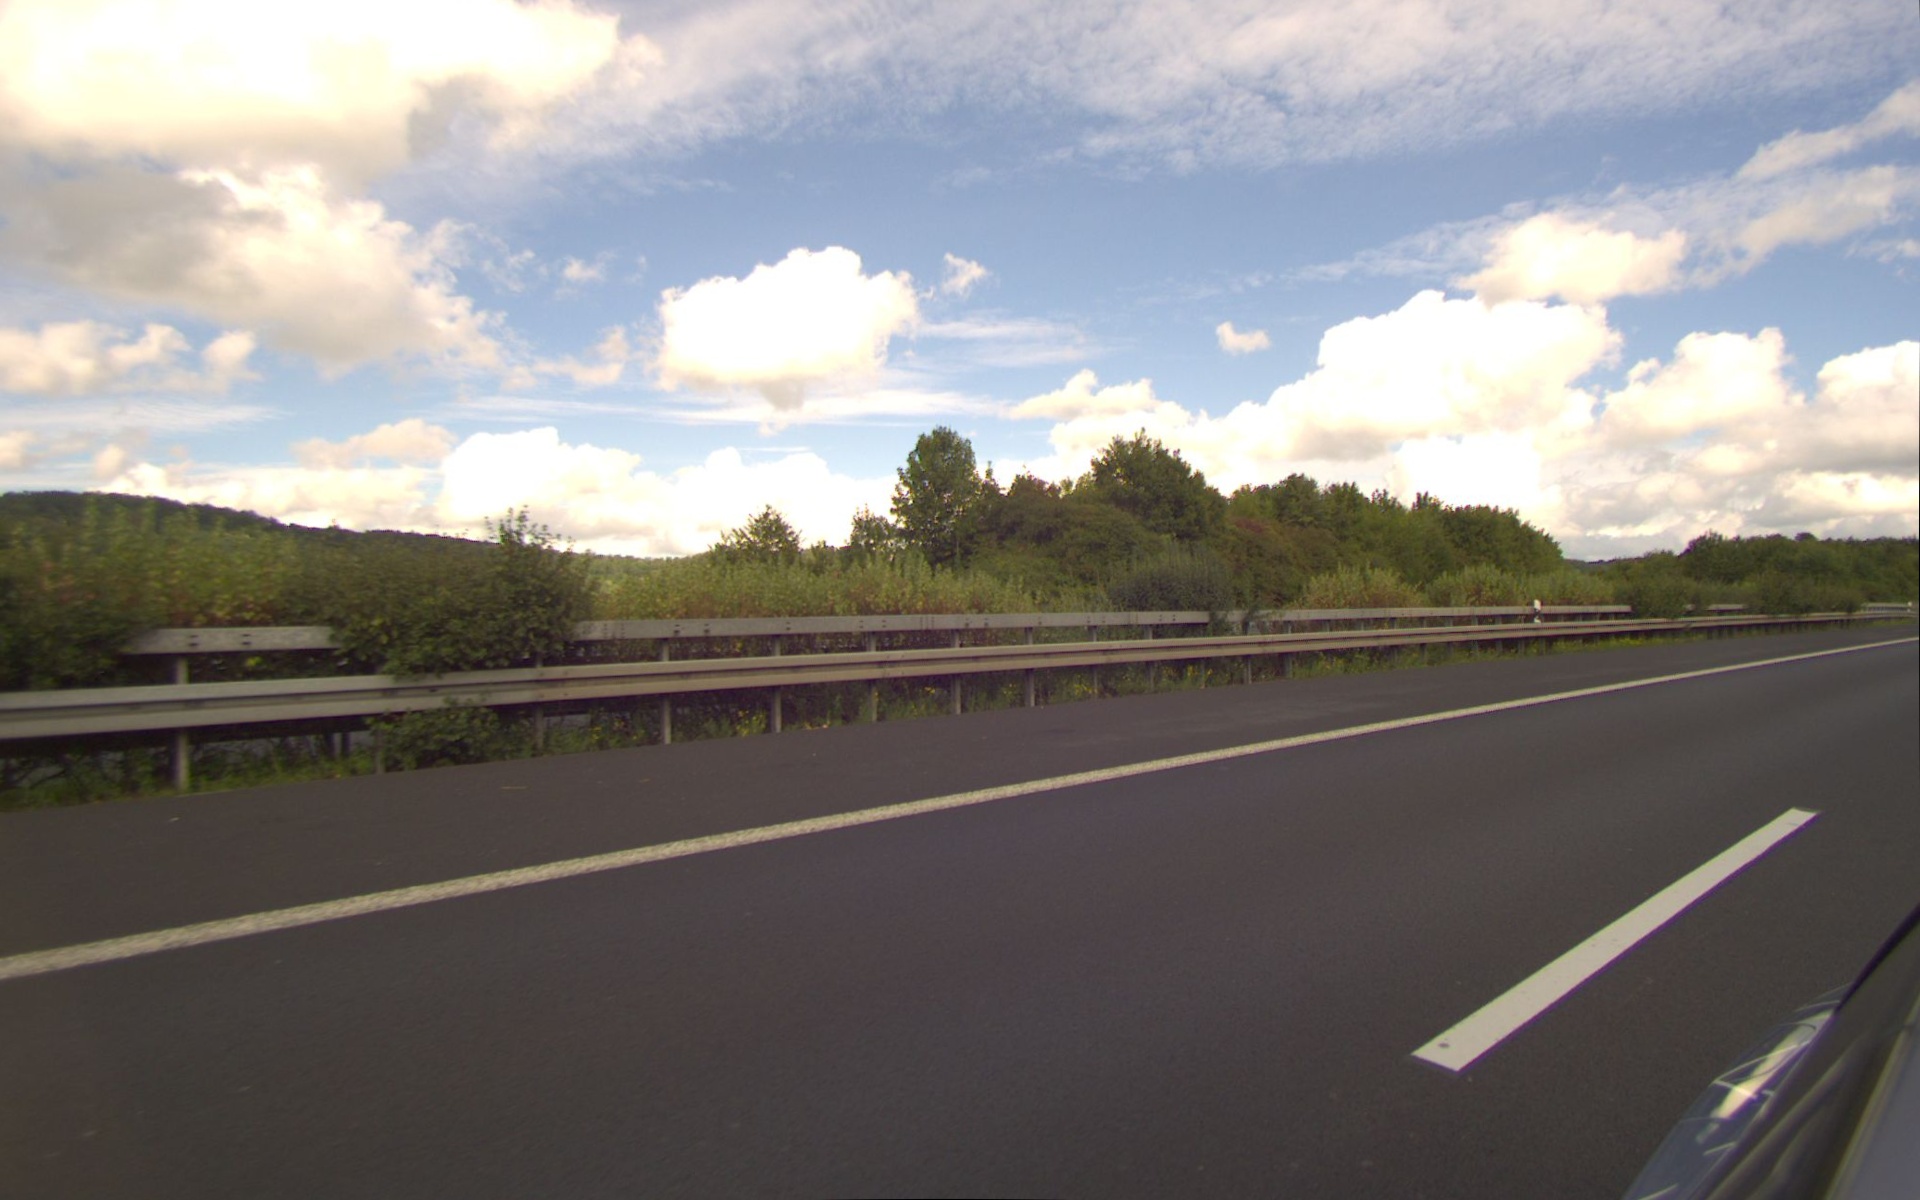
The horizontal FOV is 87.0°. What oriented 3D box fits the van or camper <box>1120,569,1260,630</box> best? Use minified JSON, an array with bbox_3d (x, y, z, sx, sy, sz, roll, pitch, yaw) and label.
[{"bbox_3d":[8.981,-0.042,39.275,5.672,2.207,2.196,-1,1,-37],"label":"van or camper"}]
